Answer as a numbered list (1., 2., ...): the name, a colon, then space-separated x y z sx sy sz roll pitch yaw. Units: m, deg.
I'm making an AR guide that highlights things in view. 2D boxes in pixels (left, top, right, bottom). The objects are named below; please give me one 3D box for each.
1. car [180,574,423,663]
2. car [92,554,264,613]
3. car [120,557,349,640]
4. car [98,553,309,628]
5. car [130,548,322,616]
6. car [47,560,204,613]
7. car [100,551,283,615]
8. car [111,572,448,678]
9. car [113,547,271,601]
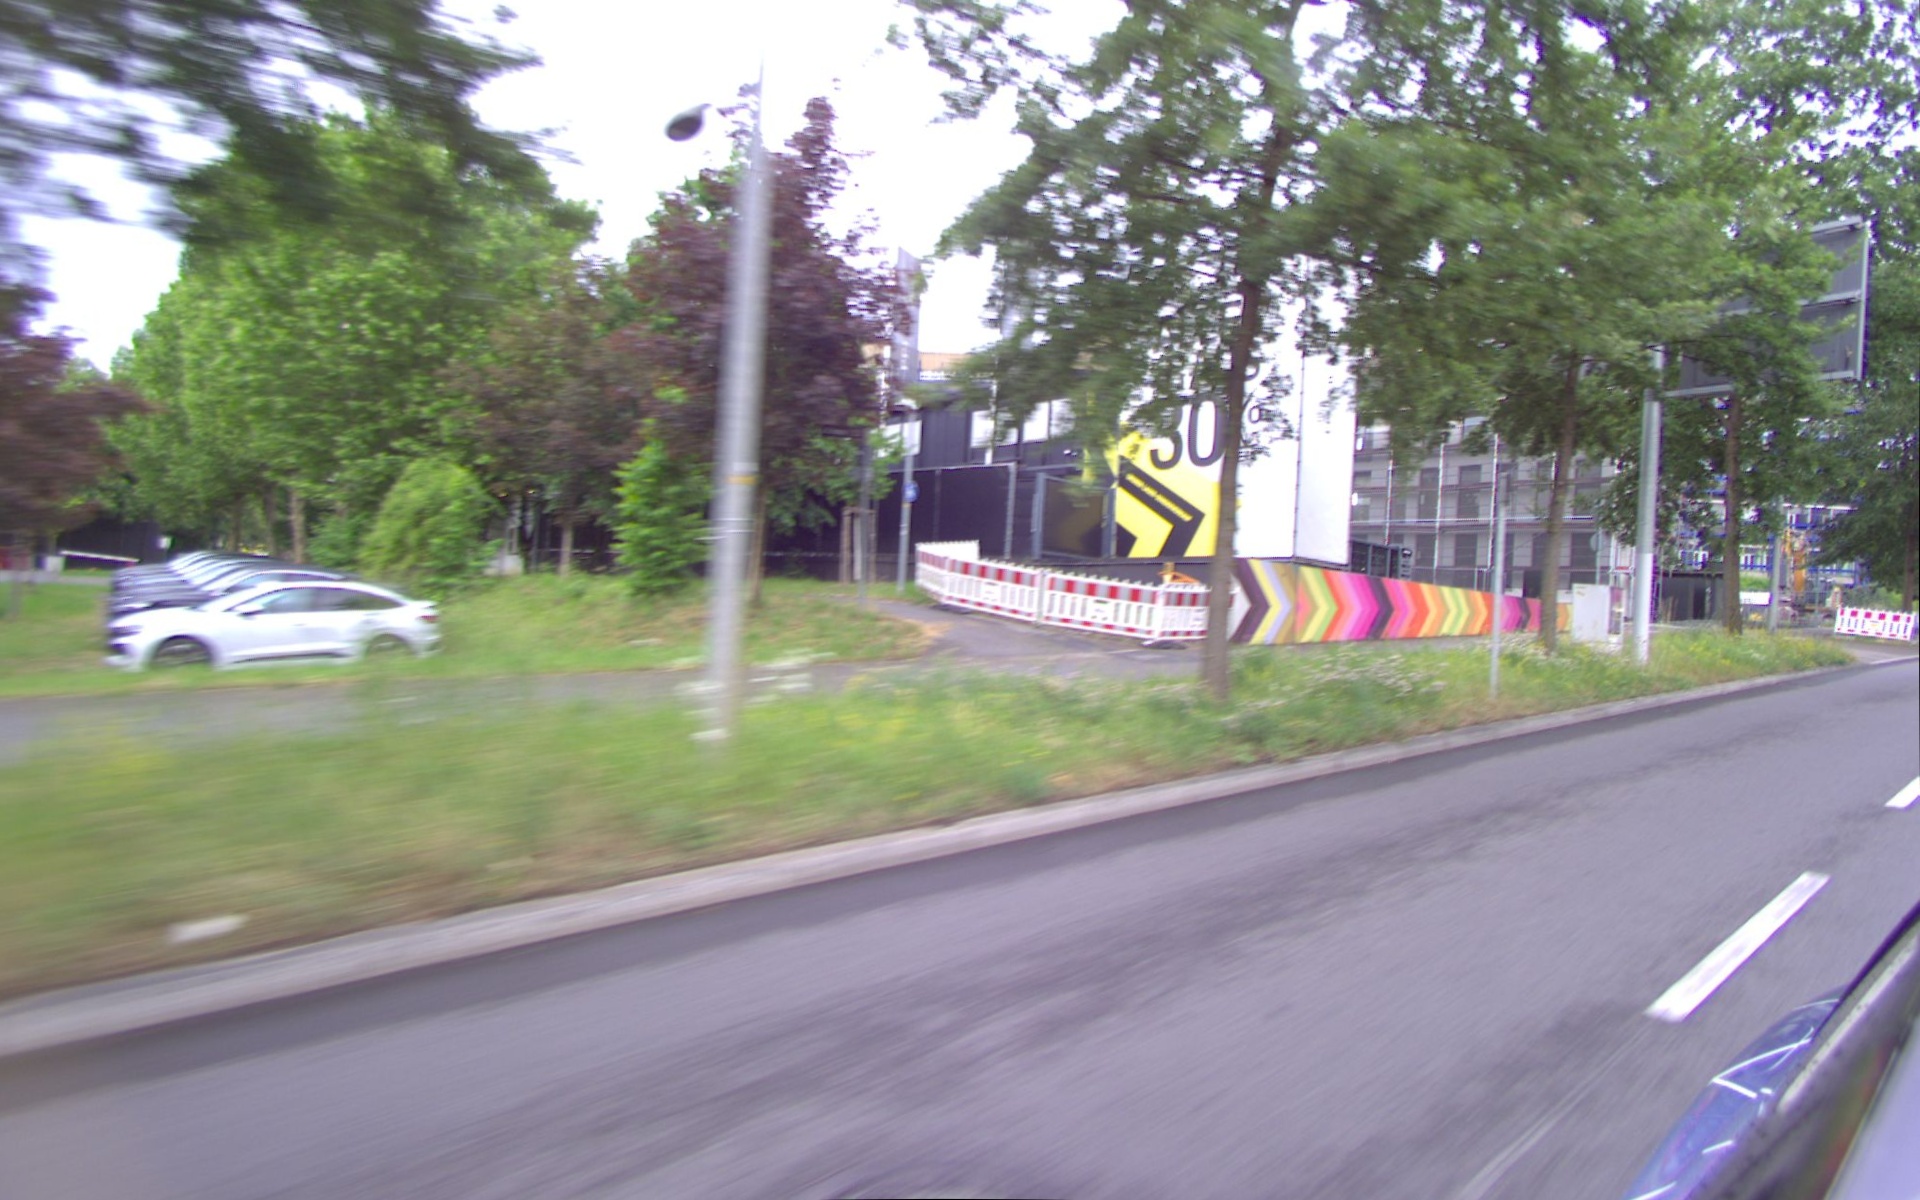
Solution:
1. car: -12.189 0.295 18.836 3.580 1.503 1.700 -1 0 -42
2. car: -21.112 -0.435 27.394 3.580 1.503 1.700 -1 0 -42
3. car: -14.439 -0.047 20.237 3.580 1.503 1.700 -1 0 -42
4. car: -16.463 -0.200 22.109 3.580 1.503 1.700 -1 0 -42
5. car: -17.490 -0.421 24.184 3.580 1.503 1.700 -1 0 -42
6. car: -25.103 -0.407 30.528 3.580 1.503 1.700 -1 0 -42
7. car: -19.436 -0.415 25.663 3.580 1.503 1.700 -1 0 -42
8. car: -10.979 0.334 16.535 4.385 1.503 1.699 -1 0 -42
9. car: -22.511 -0.729 29.706 3.580 1.503 1.700 -1 0 -42
